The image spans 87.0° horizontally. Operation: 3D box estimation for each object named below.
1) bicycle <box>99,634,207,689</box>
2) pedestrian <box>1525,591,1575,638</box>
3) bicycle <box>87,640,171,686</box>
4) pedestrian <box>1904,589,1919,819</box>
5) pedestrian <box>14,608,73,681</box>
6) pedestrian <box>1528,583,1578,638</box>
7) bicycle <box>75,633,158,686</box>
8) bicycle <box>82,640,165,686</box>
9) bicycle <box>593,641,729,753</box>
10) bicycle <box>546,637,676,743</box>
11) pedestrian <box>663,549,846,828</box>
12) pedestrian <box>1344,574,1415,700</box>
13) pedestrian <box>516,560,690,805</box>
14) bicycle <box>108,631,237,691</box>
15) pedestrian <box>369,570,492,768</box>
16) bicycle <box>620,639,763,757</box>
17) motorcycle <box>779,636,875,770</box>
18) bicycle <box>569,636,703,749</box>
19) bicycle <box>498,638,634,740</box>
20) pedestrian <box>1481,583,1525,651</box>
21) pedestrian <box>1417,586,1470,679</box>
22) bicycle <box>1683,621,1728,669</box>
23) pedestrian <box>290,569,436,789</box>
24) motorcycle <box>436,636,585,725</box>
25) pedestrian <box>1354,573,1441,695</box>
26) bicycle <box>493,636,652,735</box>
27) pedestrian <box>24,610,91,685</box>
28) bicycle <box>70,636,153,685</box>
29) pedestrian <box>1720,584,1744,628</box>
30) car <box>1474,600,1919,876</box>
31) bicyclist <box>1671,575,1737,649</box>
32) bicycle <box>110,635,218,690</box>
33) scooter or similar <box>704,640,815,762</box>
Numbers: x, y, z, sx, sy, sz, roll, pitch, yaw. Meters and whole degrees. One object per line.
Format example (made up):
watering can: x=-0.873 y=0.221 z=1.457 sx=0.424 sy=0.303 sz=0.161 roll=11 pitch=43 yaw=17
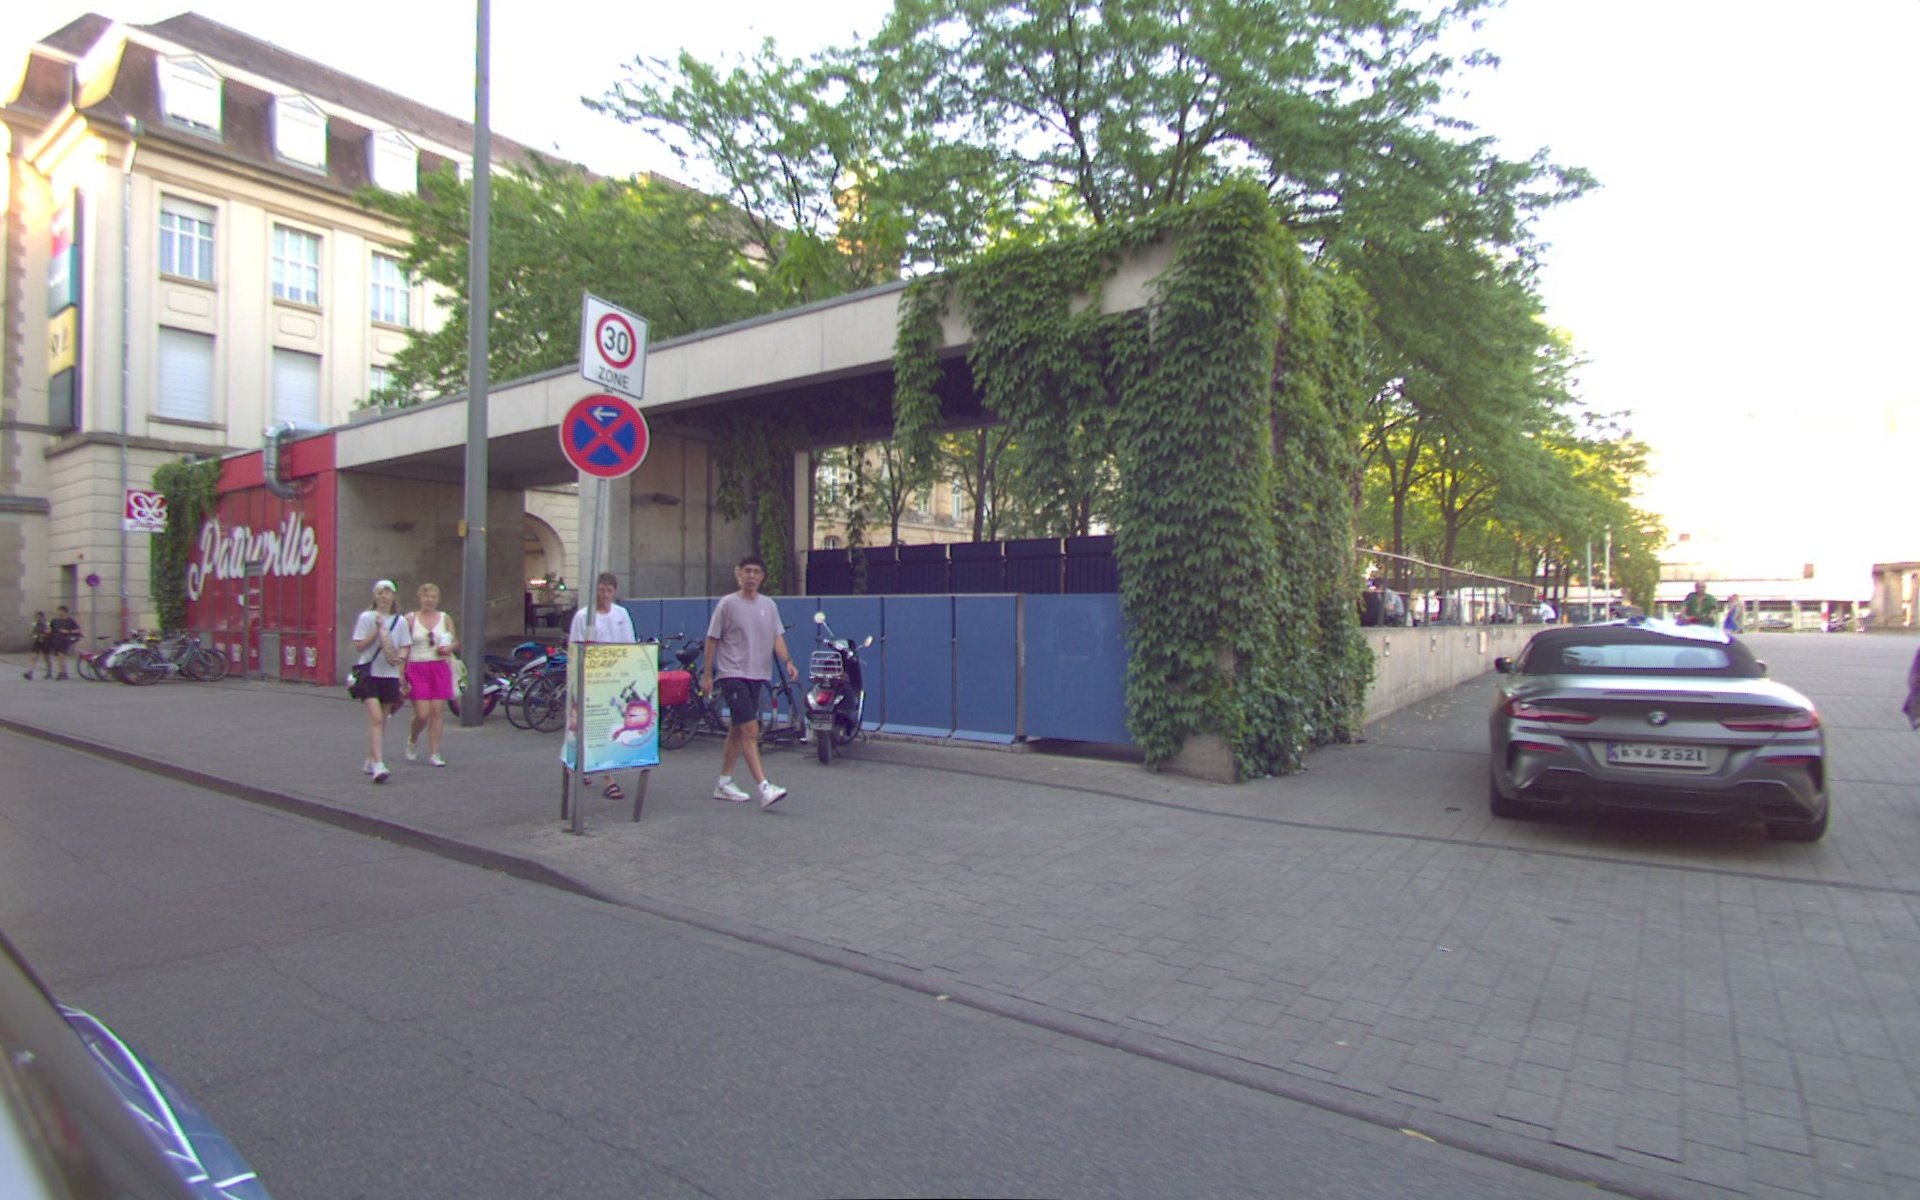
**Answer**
bicycle: x=-17.733 y=1.328 z=22.282 sx=0.354 sy=1.091 sz=1.820 roll=-1 pitch=0 yaw=42
pedestrian: x=17.919 y=0.444 z=30.717 sx=1.264 sy=1.390 sz=0.729 roll=-1 pitch=-1 yaw=33
bicycle: x=-19.242 y=1.446 z=23.464 sx=0.311 sy=0.963 sz=1.487 roll=-1 pitch=0 yaw=28
pedestrian: x=6.888 y=0.694 z=6.861 sx=0.680 sy=1.554 sz=0.584 roll=-1 pitch=0 yaw=44
pedestrian: x=-22.394 y=1.067 z=24.722 sx=0.700 sy=1.740 sz=0.911 roll=-1 pitch=-1 yaw=32
pedestrian: x=18.355 y=0.339 z=31.316 sx=1.264 sy=1.660 sz=0.700 roll=-1 pitch=-1 yaw=34
bicycle: x=-19.792 y=1.382 z=23.781 sx=0.311 sy=1.149 sz=1.487 roll=-1 pitch=0 yaw=28
bicycle: x=-19.502 y=1.453 z=23.634 sx=0.311 sy=0.986 sz=1.487 roll=-1 pitch=0 yaw=28
bicycle: x=-3.235 y=1.014 z=11.051 sx=0.441 sy=1.077 sz=1.481 roll=-1 pitch=0 yaw=33
bicycle: x=-4.011 y=1.001 z=11.720 sx=0.410 sy=1.096 sz=1.481 roll=-1 pitch=0 yaw=33
pedestrian: x=-1.527 y=0.603 z=7.554 sx=0.889 sy=1.898 sz=0.972 roll=-1 pitch=0 yaw=39
pedestrian: x=6.232 y=0.536 z=15.041 sx=0.797 sy=1.795 sz=0.752 roll=-1 pitch=-1 yaw=38
pedestrian: x=-2.853 y=0.611 z=8.115 sx=0.889 sy=1.807 sz=0.972 roll=-1 pitch=0 yaw=39
bicycle: x=-17.001 y=1.283 z=21.895 sx=0.445 sy=1.164 sz=2.151 roll=-1 pitch=0 yaw=42
pedestrian: x=-5.110 y=0.632 z=9.775 sx=0.736 sy=1.807 sz=0.802 roll=-1 pitch=0 yaw=39
bicycle: x=-2.831 y=1.000 z=10.782 sx=0.546 sy=1.096 sz=1.481 roll=-1 pitch=0 yaw=33
motorcycle: x=-1.273 y=0.962 z=10.025 sx=0.530 sy=1.135 sz=1.826 roll=-1 pitch=0 yaw=6
bicycle: x=-3.572 y=0.988 z=11.265 sx=0.410 sy=1.120 sz=1.481 roll=-1 pitch=0 yaw=33
bicycle: x=-4.715 y=1.033 z=12.179 sx=0.436 sy=1.096 sz=1.476 roll=-1 pitch=0 yaw=43
pedestrian: x=14.172 y=0.450 z=26.398 sx=0.919 sy=1.740 sz=0.694 roll=-1 pitch=-1 yaw=36
pedestrian: x=9.335 y=0.614 z=19.530 sx=0.802 sy=1.740 sz=0.616 roll=-1 pitch=-1 yaw=36
bicycle: x=14.596 y=0.856 z=19.804 sx=0.639 sy=0.888 sz=1.609 roll=-1 pitch=-1 yaw=39
pedestrian: x=-5.248 y=0.650 z=8.896 sx=0.868 sy=1.807 sz=0.841 roll=-1 pitch=0 yaw=39
motorcycle: x=-6.063 y=1.066 z=13.704 sx=1.797 sy=1.077 sz=0.535 roll=-1 pitch=0 yaw=-25
pedestrian: x=6.842 y=0.524 z=15.828 sx=1.120 sy=1.833 sz=0.694 roll=-1 pitch=-1 yaw=36
bicycle: x=-4.871 y=1.035 z=12.833 sx=0.550 sy=1.095 sz=1.849 roll=-1 pitch=0 yaw=38
pedestrian: x=-21.482 y=1.112 z=24.117 sx=0.820 sy=1.740 sz=0.923 roll=0 pitch=-1 yaw=-10
bicycle: x=-20.076 y=1.412 z=23.975 sx=0.311 sy=1.084 sz=1.487 roll=-1 pitch=0 yaw=28
pedestrian: x=34.800 y=0.282 z=45.620 sx=0.727 sy=1.963 sz=0.797 roll=-1 pitch=-1 yaw=29
car: x=5.324 y=0.757 z=7.863 sx=2.099 sy=1.441 sz=4.404 roll=-1 pitch=0 yaw=30
bicyclist: x=14.625 y=0.237 z=19.900 sx=1.010 sy=1.400 sz=0.691 roll=-1 pitch=-1 yaw=39
bicycle: x=-17.330 y=1.334 z=22.066 sx=0.354 sy=1.091 sz=1.820 roll=-1 pitch=-1 yaw=42
scooter or similar: x=-2.017 y=0.988 z=10.361 sx=0.408 sy=1.096 sz=1.488 roll=-1 pitch=0 yaw=19
